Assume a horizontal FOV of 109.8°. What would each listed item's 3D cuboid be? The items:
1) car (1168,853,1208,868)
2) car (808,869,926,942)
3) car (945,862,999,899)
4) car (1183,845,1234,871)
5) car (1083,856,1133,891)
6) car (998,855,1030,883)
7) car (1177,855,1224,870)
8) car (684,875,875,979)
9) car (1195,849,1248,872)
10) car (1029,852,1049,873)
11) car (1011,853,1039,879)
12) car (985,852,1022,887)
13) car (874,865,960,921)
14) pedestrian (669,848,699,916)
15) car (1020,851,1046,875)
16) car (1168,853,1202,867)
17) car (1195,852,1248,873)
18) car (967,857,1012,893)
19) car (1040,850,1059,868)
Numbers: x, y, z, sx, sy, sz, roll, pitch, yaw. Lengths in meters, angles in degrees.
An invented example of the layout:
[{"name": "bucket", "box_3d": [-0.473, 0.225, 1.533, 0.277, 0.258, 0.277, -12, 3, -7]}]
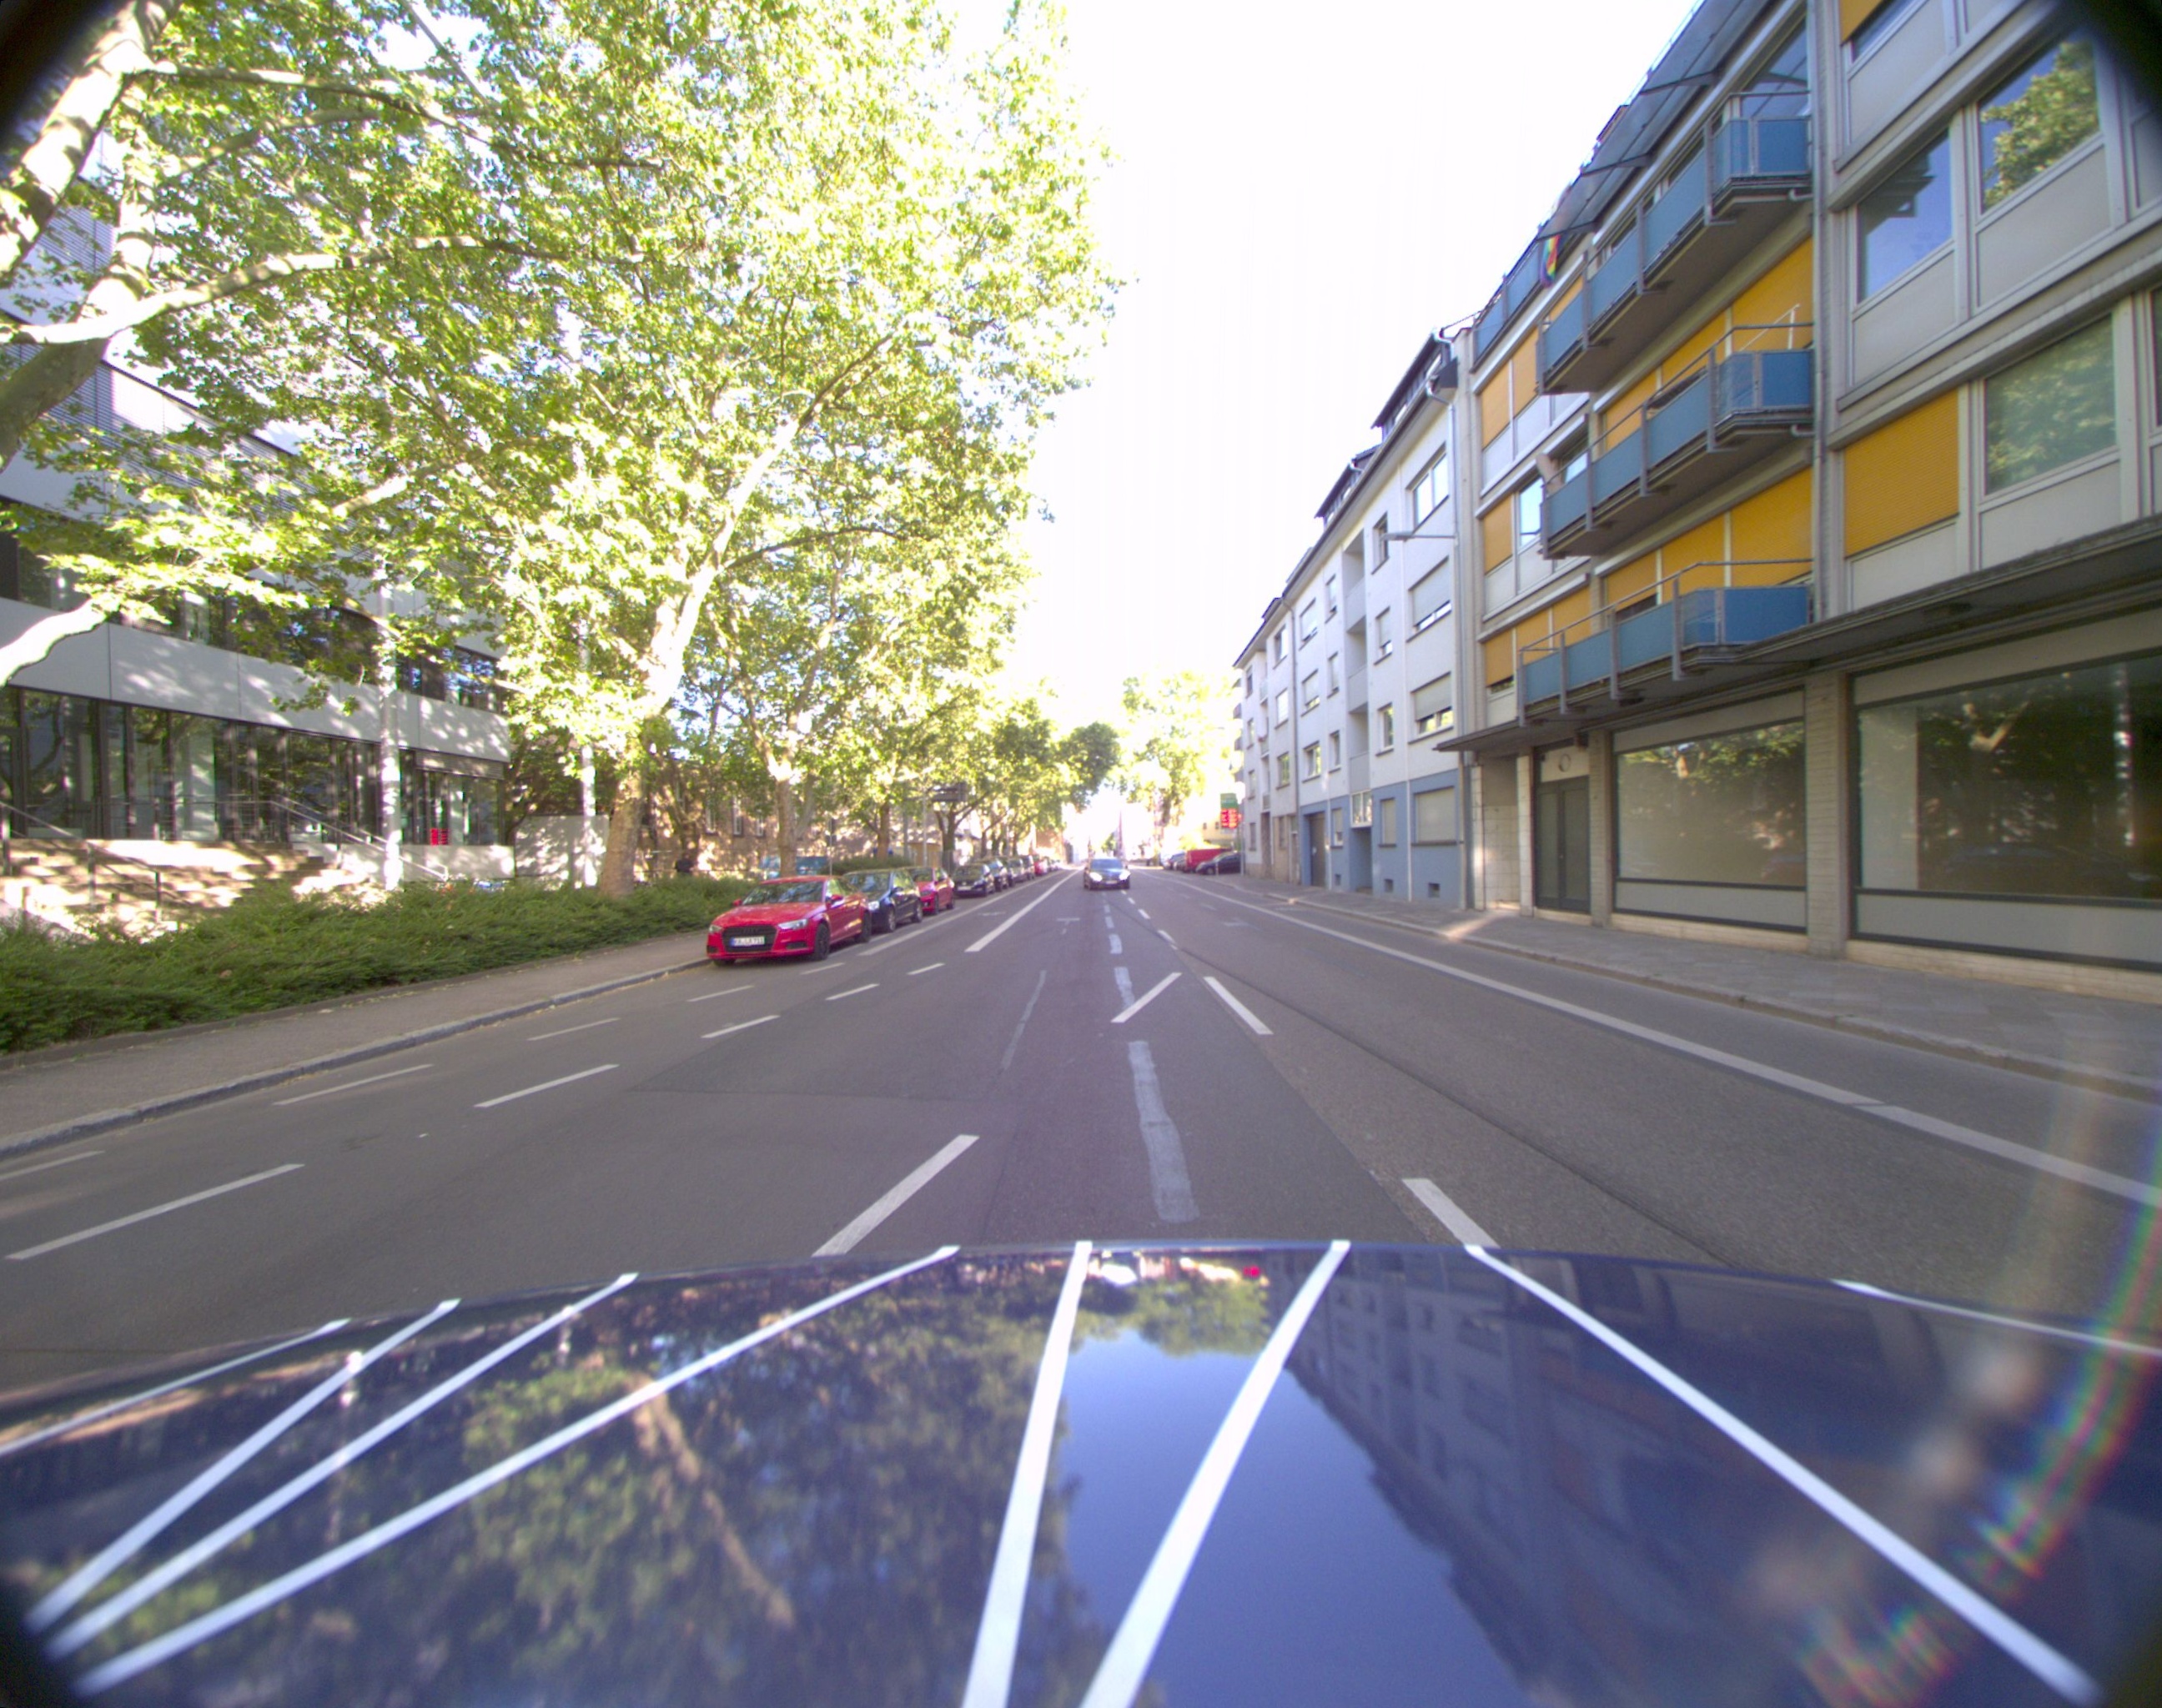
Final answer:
[{"name": "car", "box_3d": [10.266, 0.626, 73.032, 3.687, 1.238, 1.345, -2, 1, 2]}, {"name": "car", "box_3d": [-5.051, 1.162, 18.414, 1.669, 1.410, 3.697, -2, 1, 1]}, {"name": "car", "box_3d": [-4.694, 1.111, 33.239, 1.692, 1.414, 3.923, -2, 1, 0]}, {"name": "car", "box_3d": [10.059, 0.320, 59.946, 3.688, 1.897, 1.490, -2, -1, -1]}, {"name": "car", "box_3d": [1.197, 0.848, 35.369, 1.753, 1.423, 4.263, -2, 0, -5]}, {"name": "car", "box_3d": [-4.354, 0.939, 50.115, 1.634, 1.604, 4.576, -2, 1, 0]}, {"name": "car", "box_3d": [9.811, 0.693, 62.591, 3.687, 1.122, 1.345, -2, 1, 2]}, {"name": "car", "box_3d": [-5.162, 1.179, 13.660, 1.794, 1.384, 3.999, -2, 1, 0]}, {"name": "car", "box_3d": [10.533, 0.484, 57.101, 3.687, 1.503, 1.490, -2, 1, 2]}, {"name": "car", "box_3d": [-3.904, 0.806, 71.006, 1.599, 1.835, 3.769, -2, 1, 0]}, {"name": "car", "box_3d": [-4.039, 0.815, 55.242, 1.634, 1.725, 3.769, -2, 1, 0]}, {"name": "car", "box_3d": [-4.456, 0.853, 44.243, 1.634, 1.781, 4.576, -2, 1, 0]}, {"name": "car", "box_3d": [-5.014, 1.132, 23.687, 1.692, 1.441, 3.923, -2, 1, 1]}, {"name": "pedestrian", "box_3d": [-11.926, 0.834, 22.835, 0.552, 2.002, 0.562, -2, 1, -11]}, {"name": "car", "box_3d": [-4.171, 0.722, 66.094, 1.915, 1.940, 3.769, -2, 1, 0]}, {"name": "car", "box_3d": [10.322, 0.581, 75.470, 3.271, 1.238, 1.345, -2, 1, 2]}, {"name": "car", "box_3d": [10.090, 0.589, 54.732, 3.508, 1.380, 1.490, -2, 1, 2]}, {"name": "car", "box_3d": [-4.519, 0.992, 38.110, 1.634, 1.569, 4.231, -2, 1, 0]}, {"name": "car", "box_3d": [-3.809, 0.585, 92.259, 1.998, 2.002, 4.000, -2, 0, 1]}]
